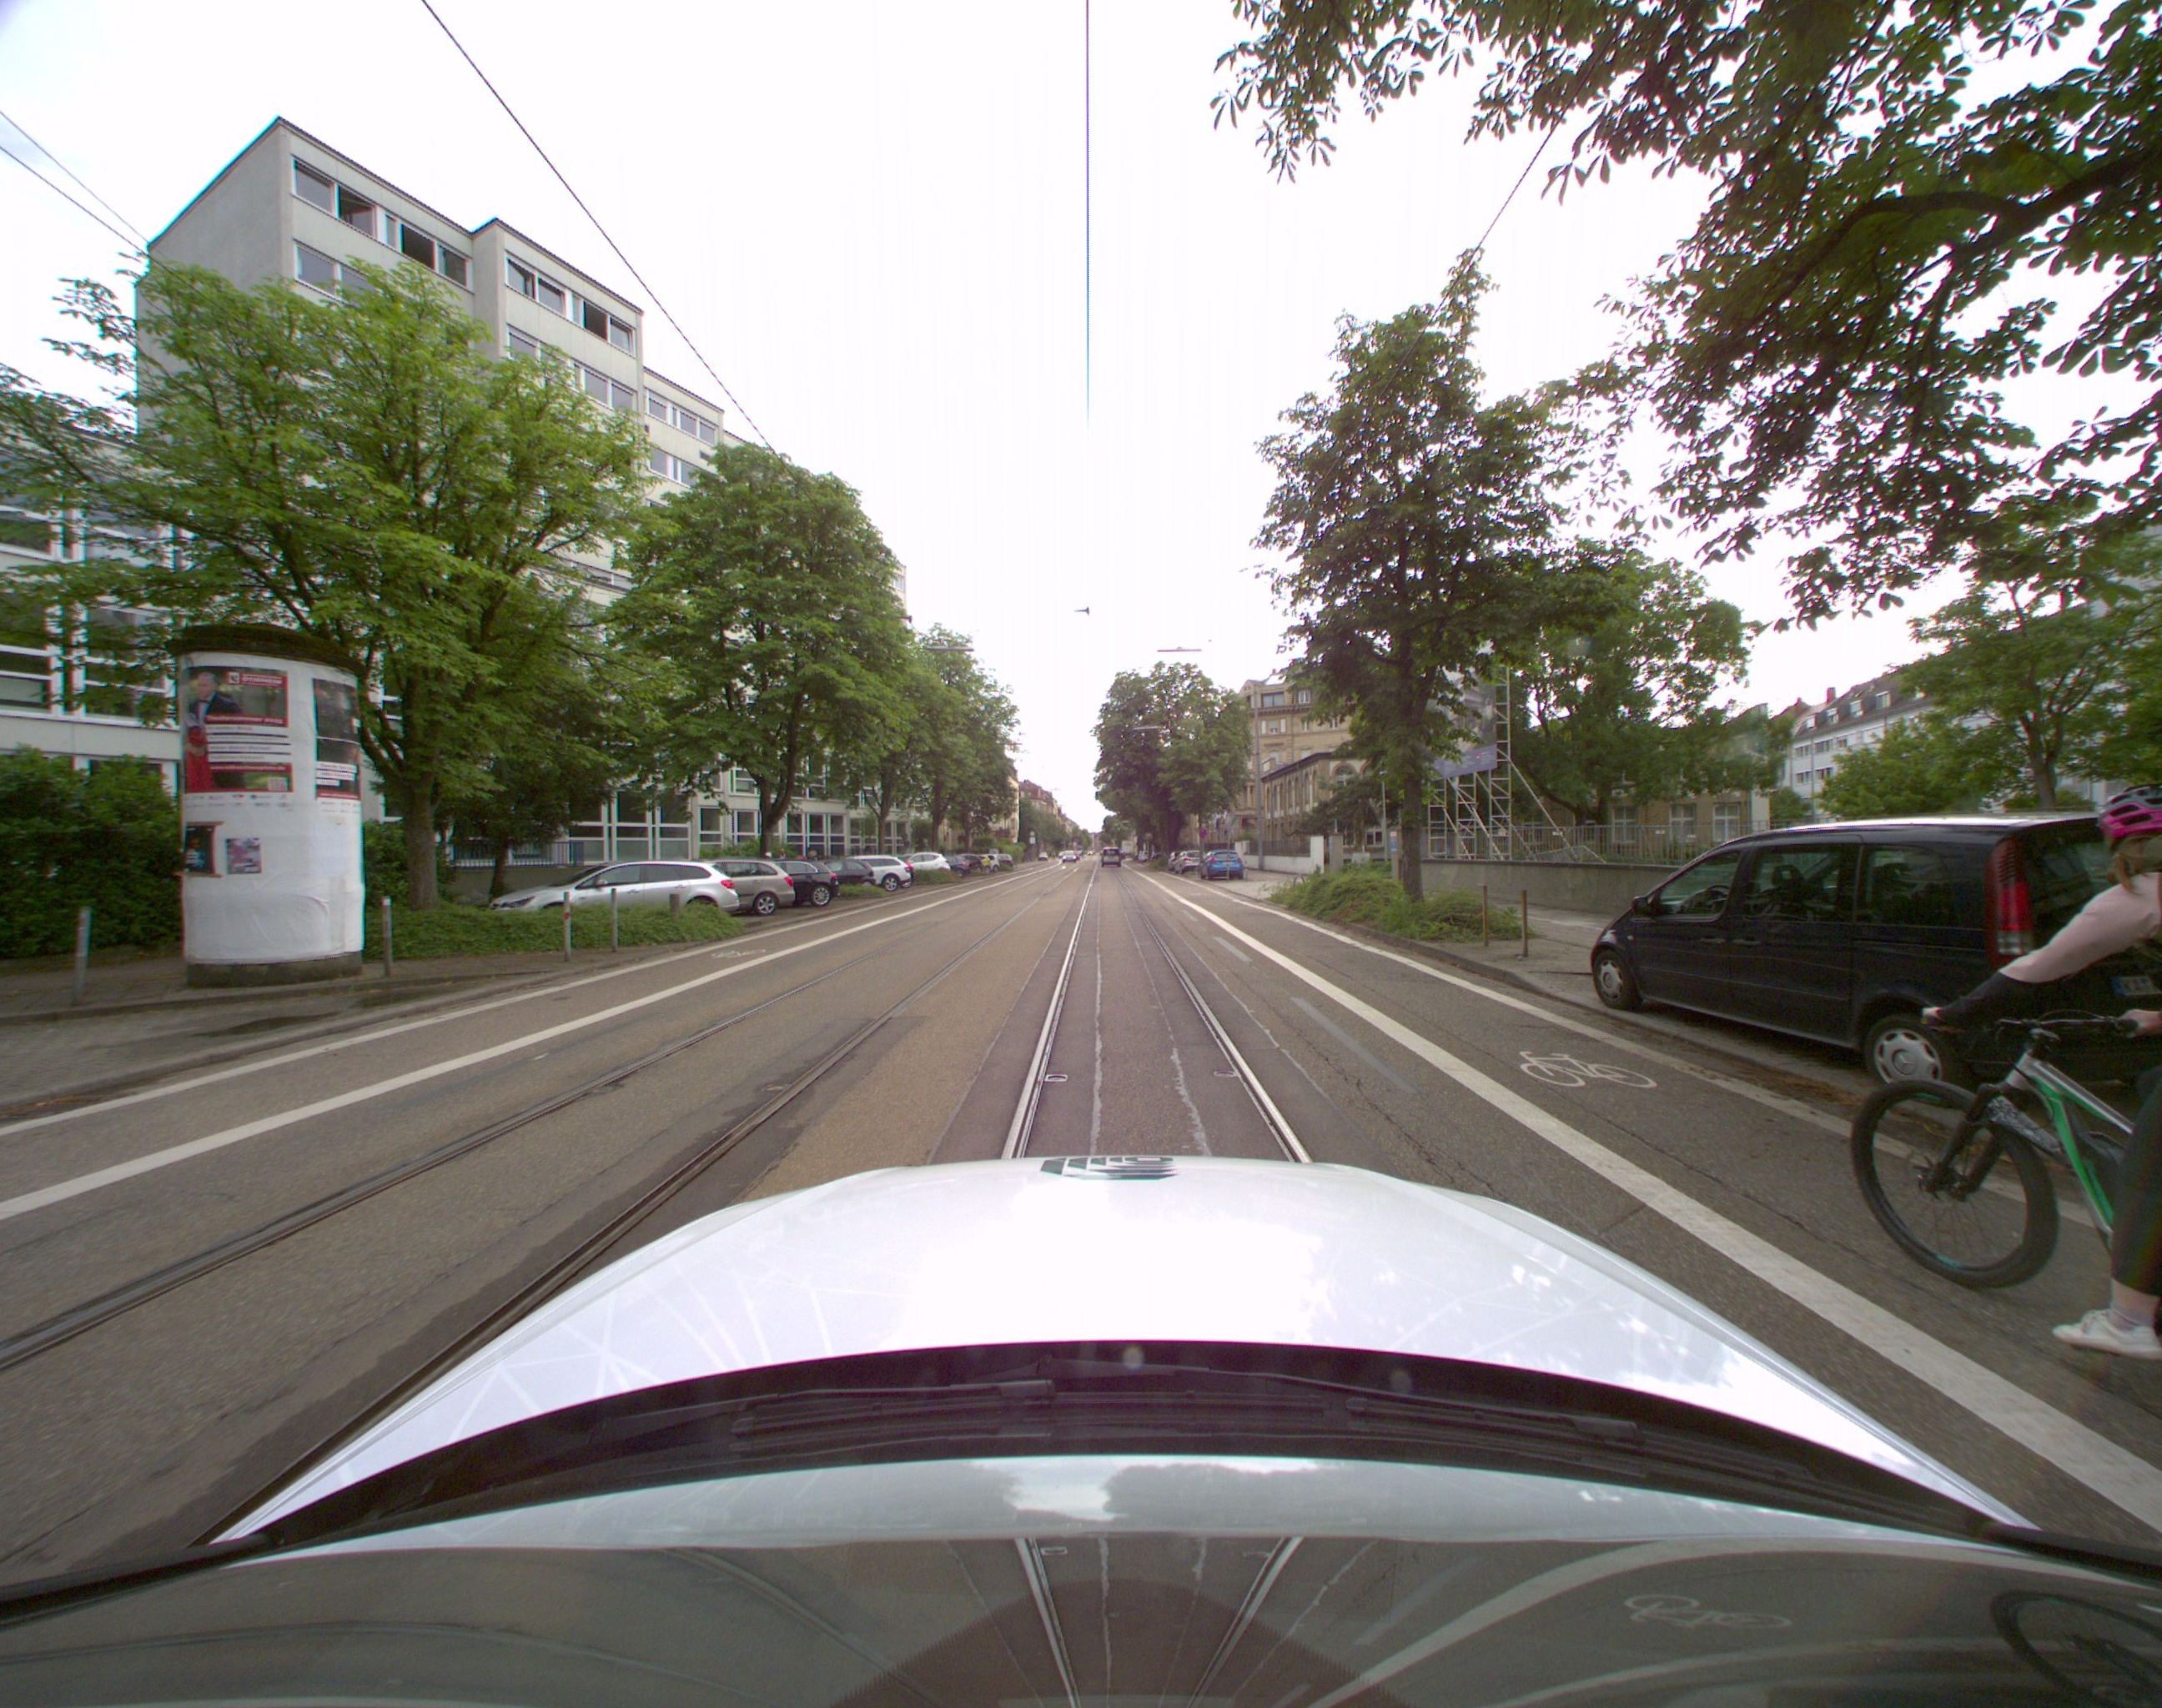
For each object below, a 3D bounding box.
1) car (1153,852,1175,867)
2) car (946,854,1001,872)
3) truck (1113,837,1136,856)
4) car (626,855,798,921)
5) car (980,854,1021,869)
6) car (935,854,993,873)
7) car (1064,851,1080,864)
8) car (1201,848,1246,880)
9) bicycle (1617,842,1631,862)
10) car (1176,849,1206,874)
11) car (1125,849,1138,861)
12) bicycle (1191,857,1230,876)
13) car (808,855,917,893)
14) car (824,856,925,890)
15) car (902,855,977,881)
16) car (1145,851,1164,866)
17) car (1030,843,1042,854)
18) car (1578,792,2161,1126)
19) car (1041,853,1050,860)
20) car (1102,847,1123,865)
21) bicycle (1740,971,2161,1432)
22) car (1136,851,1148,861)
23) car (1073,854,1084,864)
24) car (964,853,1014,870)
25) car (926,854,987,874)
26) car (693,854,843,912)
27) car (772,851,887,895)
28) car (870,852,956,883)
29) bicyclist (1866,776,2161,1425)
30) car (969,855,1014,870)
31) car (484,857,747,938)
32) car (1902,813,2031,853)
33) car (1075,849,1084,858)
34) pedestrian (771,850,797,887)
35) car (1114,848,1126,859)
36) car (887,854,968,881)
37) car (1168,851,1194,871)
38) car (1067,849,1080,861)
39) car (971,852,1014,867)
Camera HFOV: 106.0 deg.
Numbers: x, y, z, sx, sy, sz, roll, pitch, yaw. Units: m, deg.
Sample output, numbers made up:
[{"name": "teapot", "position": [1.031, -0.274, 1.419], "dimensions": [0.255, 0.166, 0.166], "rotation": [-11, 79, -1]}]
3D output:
[{"name": "car", "position": [7.493, 0.494, 73.649], "dimensions": [1.865, 1.251, 4.004], "rotation": [-1, 0, 4]}, {"name": "car", "position": [-8.285, 0.688, 62.874], "dimensions": [3.991, 1.351, 1.679], "rotation": [0, 0, -44]}, {"name": "truck", "position": [9.415, -1.656, 176.963], "dimensions": [3.799, 4.029, 10.207], "rotation": [-1, 0, -3]}, {"name": "car", "position": [-9.276, 0.790, 20.624], "dimensions": [3.672, 1.524, 1.554], "rotation": [0, 0, -43]}, {"name": "car", "position": [-7.880, 0.715, 79.696], "dimensions": [3.723, 1.386, 1.687], "rotation": [0, 0, -23]}, {"name": "car", "position": [-8.575, 0.673, 59.825], "dimensions": [3.991, 1.351, 1.679], "rotation": [0, 0, -44]}, {"name": "car", "position": [-1.139, 0.472, 106.197], "dimensions": [1.893, 1.530, 3.757], "rotation": [-2, 0, 3]}, {"name": "car", "position": [6.930, 0.466, 39.860], "dimensions": [1.668, 1.460, 3.433], "rotation": [0, 0, 1]}, {"name": "bicycle", "position": [32.141, -0.145, 48.182], "dimensions": [0.611, 1.119, 2.235], "rotation": [-1, 0, 35]}, {"name": "car", "position": [6.989, 0.446, 51.864], "dimensions": [1.470, 1.481, 3.566], "rotation": [0, 0, 1]}, {"name": "car", "position": [7.949, 0.181, 128.273], "dimensions": [1.985, 1.794, 4.003], "rotation": [-1, 0, 3]}, {"name": "bicycle", "position": [7.095, 0.682, 44.666], "dimensions": [2.007, 0.957, 0.533], "rotation": [-1, 0, -3]}, {"name": "car", "position": [-9.029, 0.772, 33.828], "dimensions": [4.047, 1.484, 1.681], "rotation": [0, 0, -37]}, {"name": "car", "position": [-9.246, 0.807, 36.577], "dimensions": [4.047, 1.405, 1.681], "rotation": [0, 0, -37]}, {"name": "car", "position": [-8.677, 0.809, 50.117], "dimensions": [4.371, 1.535, 1.679], "rotation": [0, 0, -44]}, {"name": "car", "position": [7.382, 0.442, 81.594], "dimensions": [1.783, 1.399, 3.799], "rotation": [-1, 0, 4]}, {"name": "car", "position": [-9.694, -1.157, 175.731], "dimensions": [2.169, 2.207, 4.221], "rotation": [-2, 0, 2]}, {"name": "car", "position": [5.996, 0.577, 6.480], "dimensions": [1.648, 1.812, 4.085], "rotation": [0, 0, 1]}, {"name": "car", "position": [-6.480, 0.469, 150.393], "dimensions": [1.637, 1.354, 3.874], "rotation": [-1, 0, -2]}, {"name": "car", "position": [3.007, 0.193, 76.486], "dimensions": [1.804, 1.708, 3.702], "rotation": [0, 0, 4]}, {"name": "bicycle", "position": [3.067, 1.006, 2.516], "dimensions": [0.487, 0.979, 2.059], "rotation": [0, 0, 3]}, {"name": "car", "position": [9.047, 0.242, 120.926], "dimensions": [1.762, 1.399, 3.799], "rotation": [-1, 0, 4]}, {"name": "car", "position": [-0.381, 0.780, 129.758], "dimensions": [1.670, 1.522, 2.783], "rotation": [0, 0, 2]}, {"name": "car", "position": [-7.673, 0.596, 68.039], "dimensions": [3.991, 1.351, 1.679], "rotation": [0, 0, -44]}, {"name": "car", "position": [-8.623, 0.655, 56.535], "dimensions": [3.991, 1.351, 1.679], "rotation": [0, 0, -44]}, {"name": "car", "position": [-9.028, 0.771, 23.632], "dimensions": [3.726, 1.524, 1.679], "rotation": [0, 0, -43]}, {"name": "car", "position": [-9.344, 0.660, 30.382], "dimensions": [3.726, 1.524, 1.679], "rotation": [0, 0, -43]}, {"name": "car", "position": [-8.926, 0.681, 43.520], "dimensions": [1.678, 1.556, 4.373], "rotation": [0, 0, 42]}, {"name": "bicyclist", "position": [3.011, 0.605, 2.321], "dimensions": [0.655, 1.610, 0.920], "rotation": [-1, 0, 3]}, {"name": "car", "position": [-8.075, 0.760, 73.683], "dimensions": [3.723, 1.386, 1.687], "rotation": [0, 0, -23]}, {"name": "car", "position": [-9.623, 0.816, 17.144], "dimensions": [1.780, 1.465, 4.459], "rotation": [-1, -1, 41]}, {"name": "car", "position": [47.574, -1.107, 43.872], "dimensions": [4.298, 2.014, 1.865], "rotation": [-1, -1, 24]}, {"name": "car", "position": [-0.255, -0.119, 214.653], "dimensions": [2.197, 2.255, 4.001], "rotation": [-2, 0, 1]}, {"name": "pedestrian", "position": [-13.128, 0.620, 36.017], "dimensions": [0.746, 1.611, 0.738], "rotation": [0, -2, 25]}, {"name": "car", "position": [7.089, -0.102, 148.403], "dimensions": [1.987, 2.013, 3.999], "rotation": [-1, 0, 0]}, {"name": "car", "position": [-8.741, 0.749, 46.652], "dimensions": [4.371, 1.454, 1.679], "rotation": [0, 0, -44]}, {"name": "car", "position": [7.218, 0.498, 59.089], "dimensions": [1.470, 1.428, 3.566], "rotation": [0, 0, 1]}, {"name": "car", "position": [-1.501, 0.102, 170.754], "dimensions": [2.194, 2.417, 4.006], "rotation": [-1, 0, 5]}, {"name": "car", "position": [-8.277, 0.526, 76.503], "dimensions": [3.723, 1.386, 1.687], "rotation": [0, 0, -23]}]
